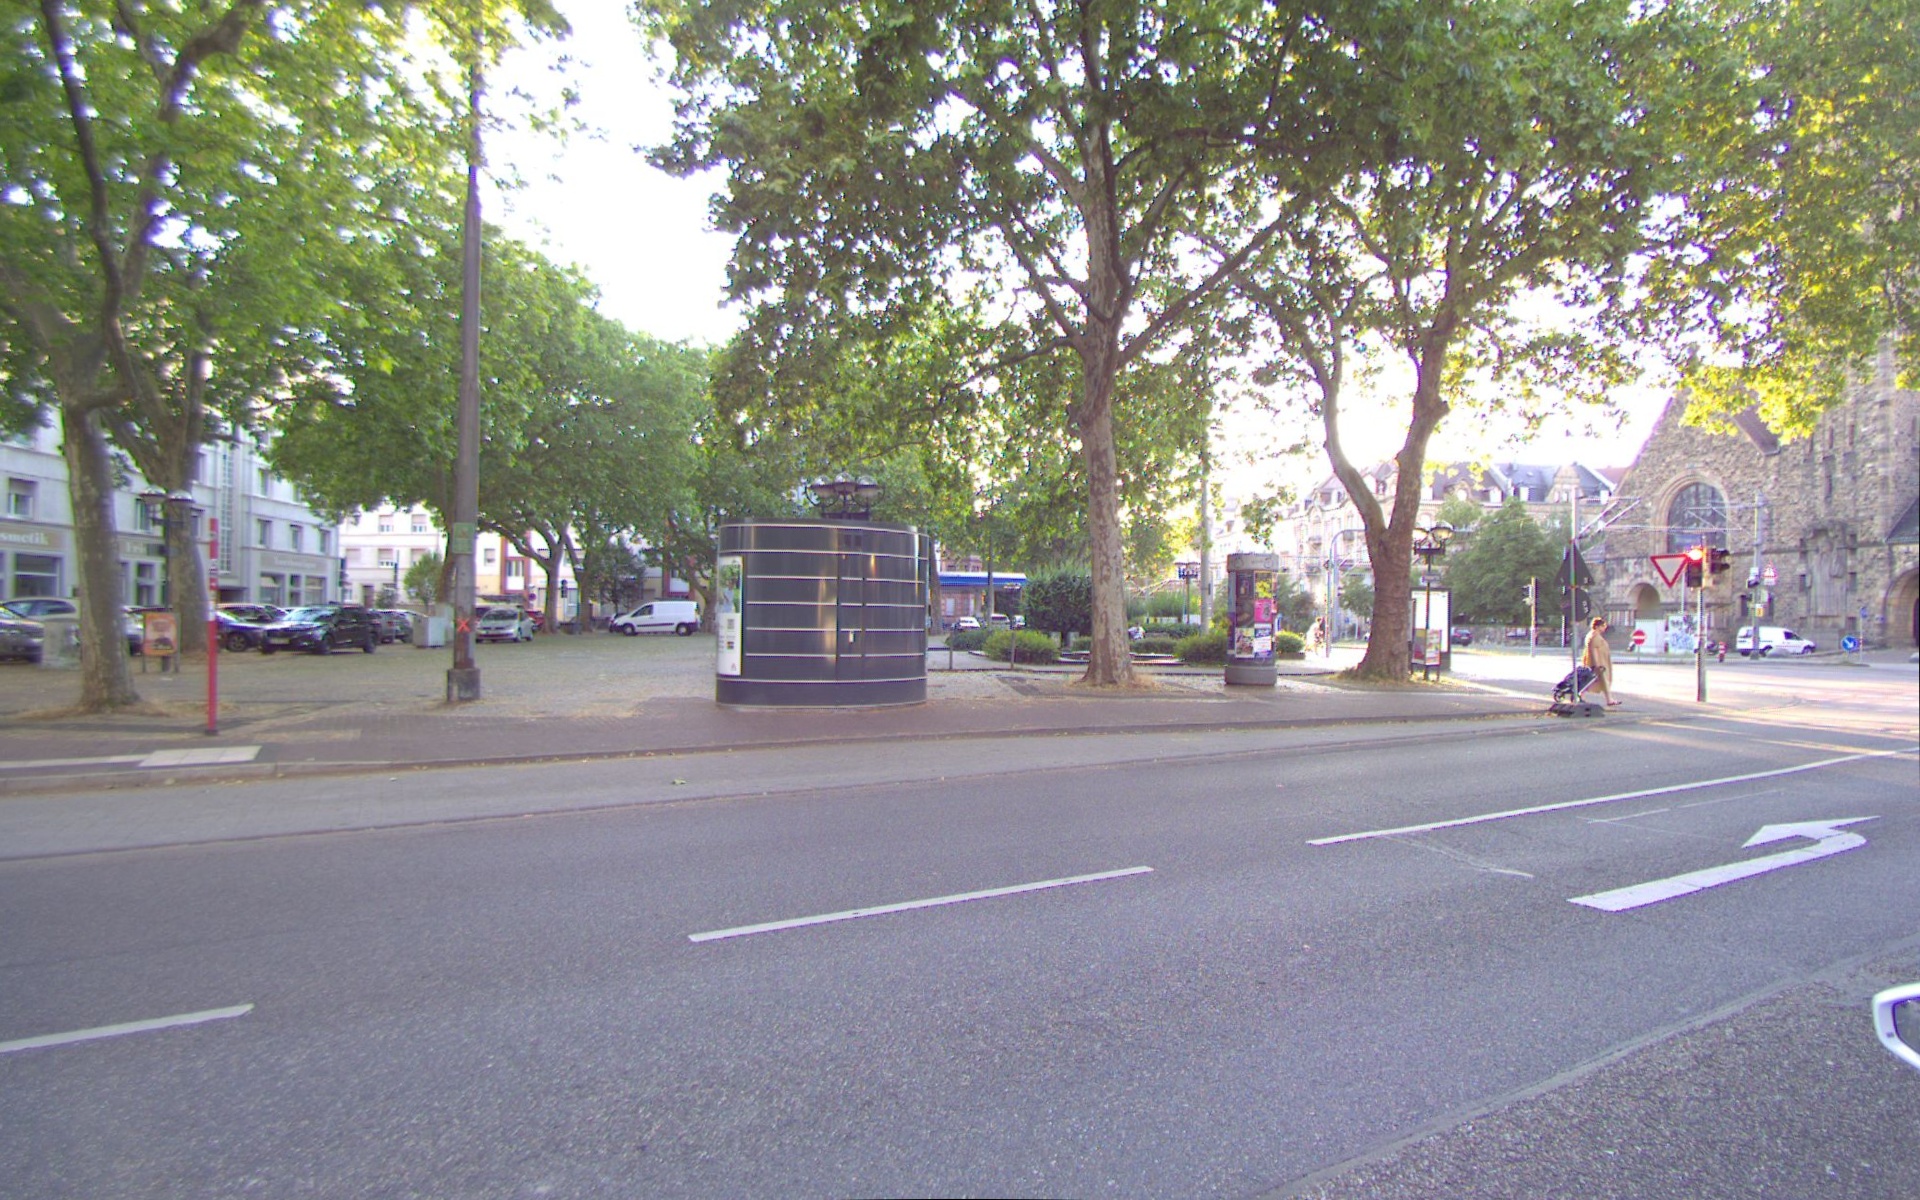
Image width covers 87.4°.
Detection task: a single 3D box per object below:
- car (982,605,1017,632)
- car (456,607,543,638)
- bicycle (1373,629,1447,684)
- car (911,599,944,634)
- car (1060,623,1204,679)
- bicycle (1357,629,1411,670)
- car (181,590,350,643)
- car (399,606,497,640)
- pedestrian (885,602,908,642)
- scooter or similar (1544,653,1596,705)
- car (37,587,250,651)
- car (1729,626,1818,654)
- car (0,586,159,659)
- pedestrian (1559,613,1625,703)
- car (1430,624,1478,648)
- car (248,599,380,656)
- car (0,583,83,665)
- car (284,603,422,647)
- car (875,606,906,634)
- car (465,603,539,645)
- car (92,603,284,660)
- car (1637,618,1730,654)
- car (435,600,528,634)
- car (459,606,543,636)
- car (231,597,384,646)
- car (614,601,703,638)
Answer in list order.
[{"bbox_3d":[2.837,1.316,73.317,1.882,1.873,3.995,2,0,-7],"label":"car"},{"bbox_3d":[-27.396,1.339,59.928,4.572,1.758,1.990,0,-2,-22],"label":"car"},{"bbox_3d":[11.315,1.428,25.236,1.967,1.344,0.523,2,0,-26],"label":"bicycle"},{"bbox_3d":[-2.390,1.155,72.560,1.963,2.374,3.995,2,0,-7],"label":"car"},{"bbox_3d":[5.875,1.736,34.671,4.552,1.805,1.999,-1,-2,-5],"label":"car"},{"bbox_3d":[11.934,1.399,28.264,1.780,1.107,0.455,2,0,-33],"label":"bicycle"},{"bbox_3d":[-25.114,0.608,36.512,4.557,1.805,2.090,0,-2,-10],"label":"car"},{"bbox_3d":[-27.731,1.263,54.562,4.572,1.758,1.990,0,-2,-22],"label":"car"},{"bbox_3d":[-2.772,0.959,43.857,0.869,1.694,0.740,2,0,-8],"label":"pedestrian"},{"bbox_3d":[11.424,1.471,18.814,0.845,0.910,0.586,2,0,-41],"label":"scooter or similar"},{"bbox_3d":[-24.461,0.569,30.289,4.557,1.805,1.997,0,-2,-10],"label":"car"},{"bbox_3d":[50.953,2.482,62.917,4.372,1.537,1.718,2,0,-6],"label":"car"},{"bbox_3d":[-23.689,0.591,25.691,4.557,1.805,1.997,0,-2,-10],"label":"car"},{"bbox_3d":[12.127,1.099,19.283,0.766,1.649,0.796,2,0,-35],"label":"pedestrian"},{"bbox_3d":[38.106,2.773,77.567,1.960,1.706,4.002,2,0,4],"label":"car"},{"bbox_3d":[-19.230,0.816,30.100,1.642,1.549,3.760,2,-2,-4],"label":"car"},{"bbox_3d":[-23.131,0.580,22.720,4.557,1.805,1.997,0,-2,-10],"label":"car"},{"bbox_3d":[-25.477,1.044,42.310,4.557,1.758,1.997,0,-2,-10],"label":"car"},{"bbox_3d":[-5.030,1.406,72.314,1.882,1.873,3.995,2,0,-7],"label":"car"},{"bbox_3d":[-19.801,1.003,43.581,1.642,1.684,3.760,2,0,-4],"label":"car"},{"bbox_3d":[-25.123,1.021,32.869,4.557,1.758,1.997,0,-2,-10],"label":"car"},{"bbox_3d":[40.889,2.011,56.895,1.965,1.638,3.996,9,-2,-7],"label":"car"},{"bbox_3d":[-27.174,0.961,57.233,4.578,1.834,1.992,0,-2,-20],"label":"car"},{"bbox_3d":[-28.361,1.305,62.221,4.572,1.758,1.990,0,-2,-22],"label":"car"},{"bbox_3d":[-25.305,0.843,39.099,4.557,1.805,1.997,0,-2,-10],"label":"car"},{"bbox_3d":[-16.868,1.100,56.441,4.557,1.964,1.997,0,-2,-10],"label":"car"}]
